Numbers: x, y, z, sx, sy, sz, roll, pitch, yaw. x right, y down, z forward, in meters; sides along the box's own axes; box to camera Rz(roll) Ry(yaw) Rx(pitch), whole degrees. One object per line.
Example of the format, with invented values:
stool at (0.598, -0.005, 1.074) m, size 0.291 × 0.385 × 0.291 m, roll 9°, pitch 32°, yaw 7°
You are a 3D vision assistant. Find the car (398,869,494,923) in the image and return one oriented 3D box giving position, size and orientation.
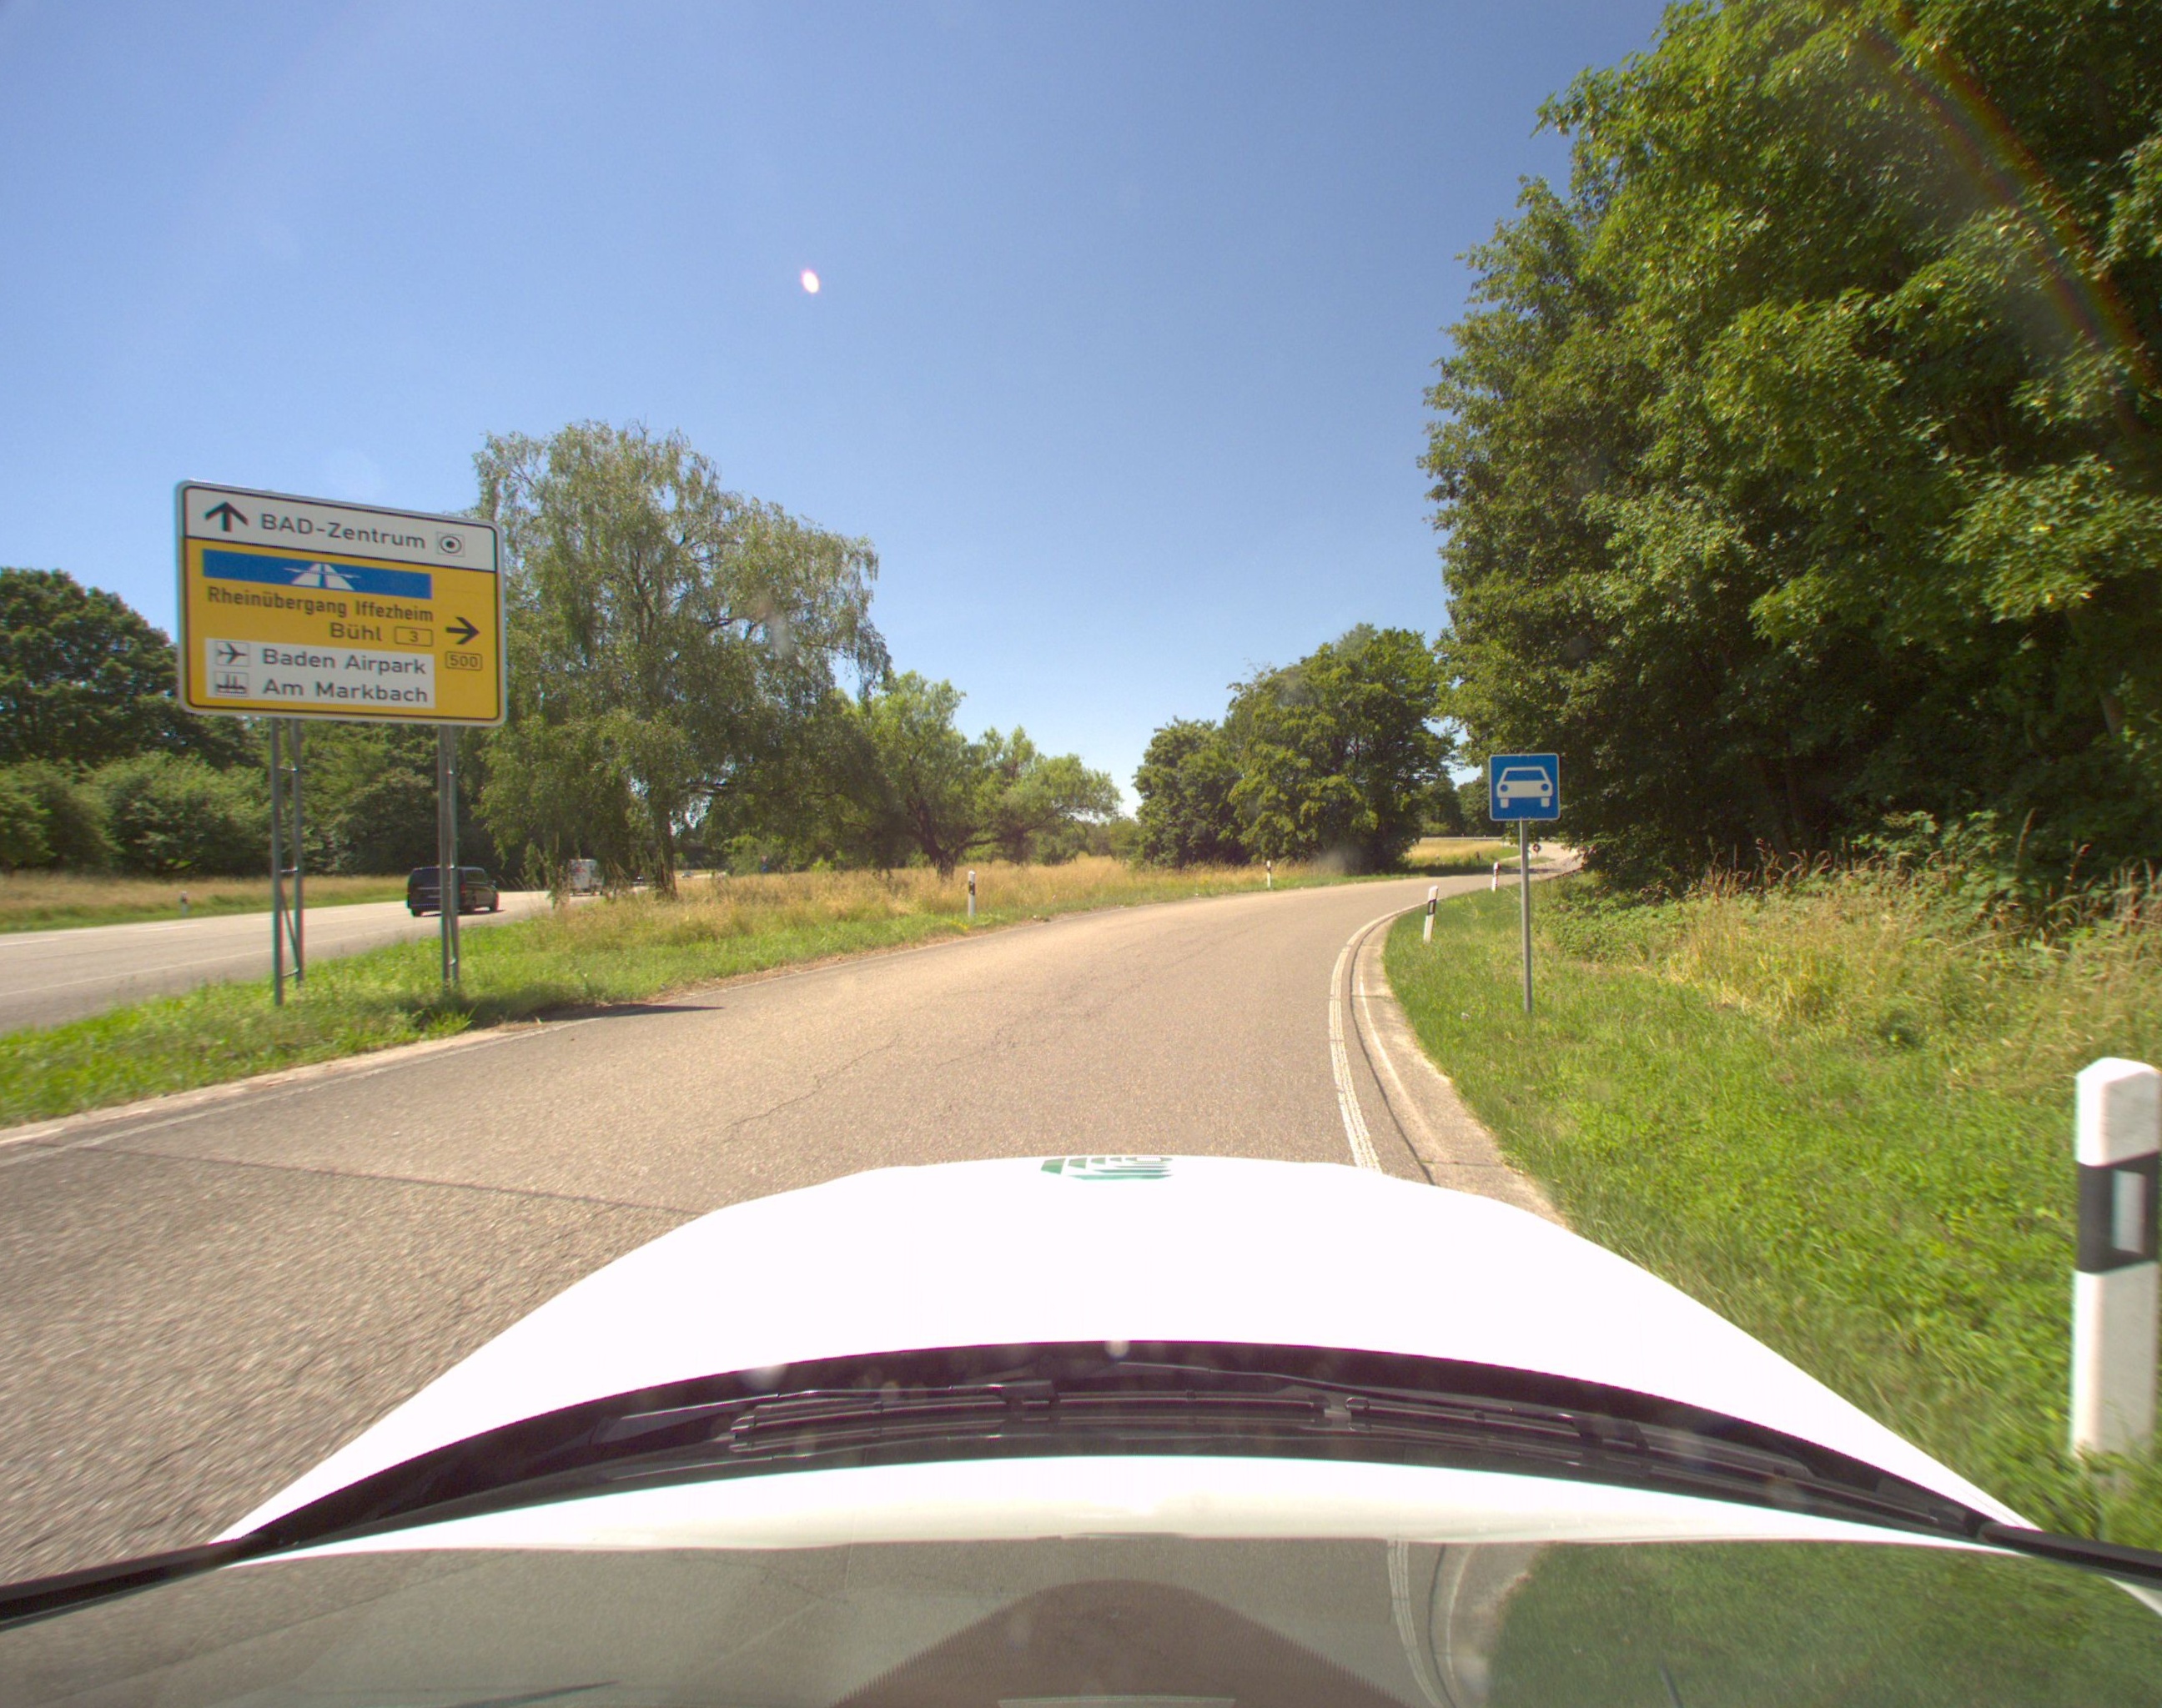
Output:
car at (-24.889, 1.570, 32.087) m, size 2.002 × 1.948 × 4.057 m, roll 0°, pitch -1°, yaw -24°

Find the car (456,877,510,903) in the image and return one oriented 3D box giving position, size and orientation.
car at (-41.031, 2.455, 55.977) m, size 2.126 × 1.635 × 4.057 m, roll 0°, pitch -1°, yaw -24°

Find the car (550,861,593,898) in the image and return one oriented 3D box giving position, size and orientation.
car at (-36.132, 1.771, 57.884) m, size 2.128 × 2.501 × 4.055 m, roll 0°, pitch -1°, yaw -26°
